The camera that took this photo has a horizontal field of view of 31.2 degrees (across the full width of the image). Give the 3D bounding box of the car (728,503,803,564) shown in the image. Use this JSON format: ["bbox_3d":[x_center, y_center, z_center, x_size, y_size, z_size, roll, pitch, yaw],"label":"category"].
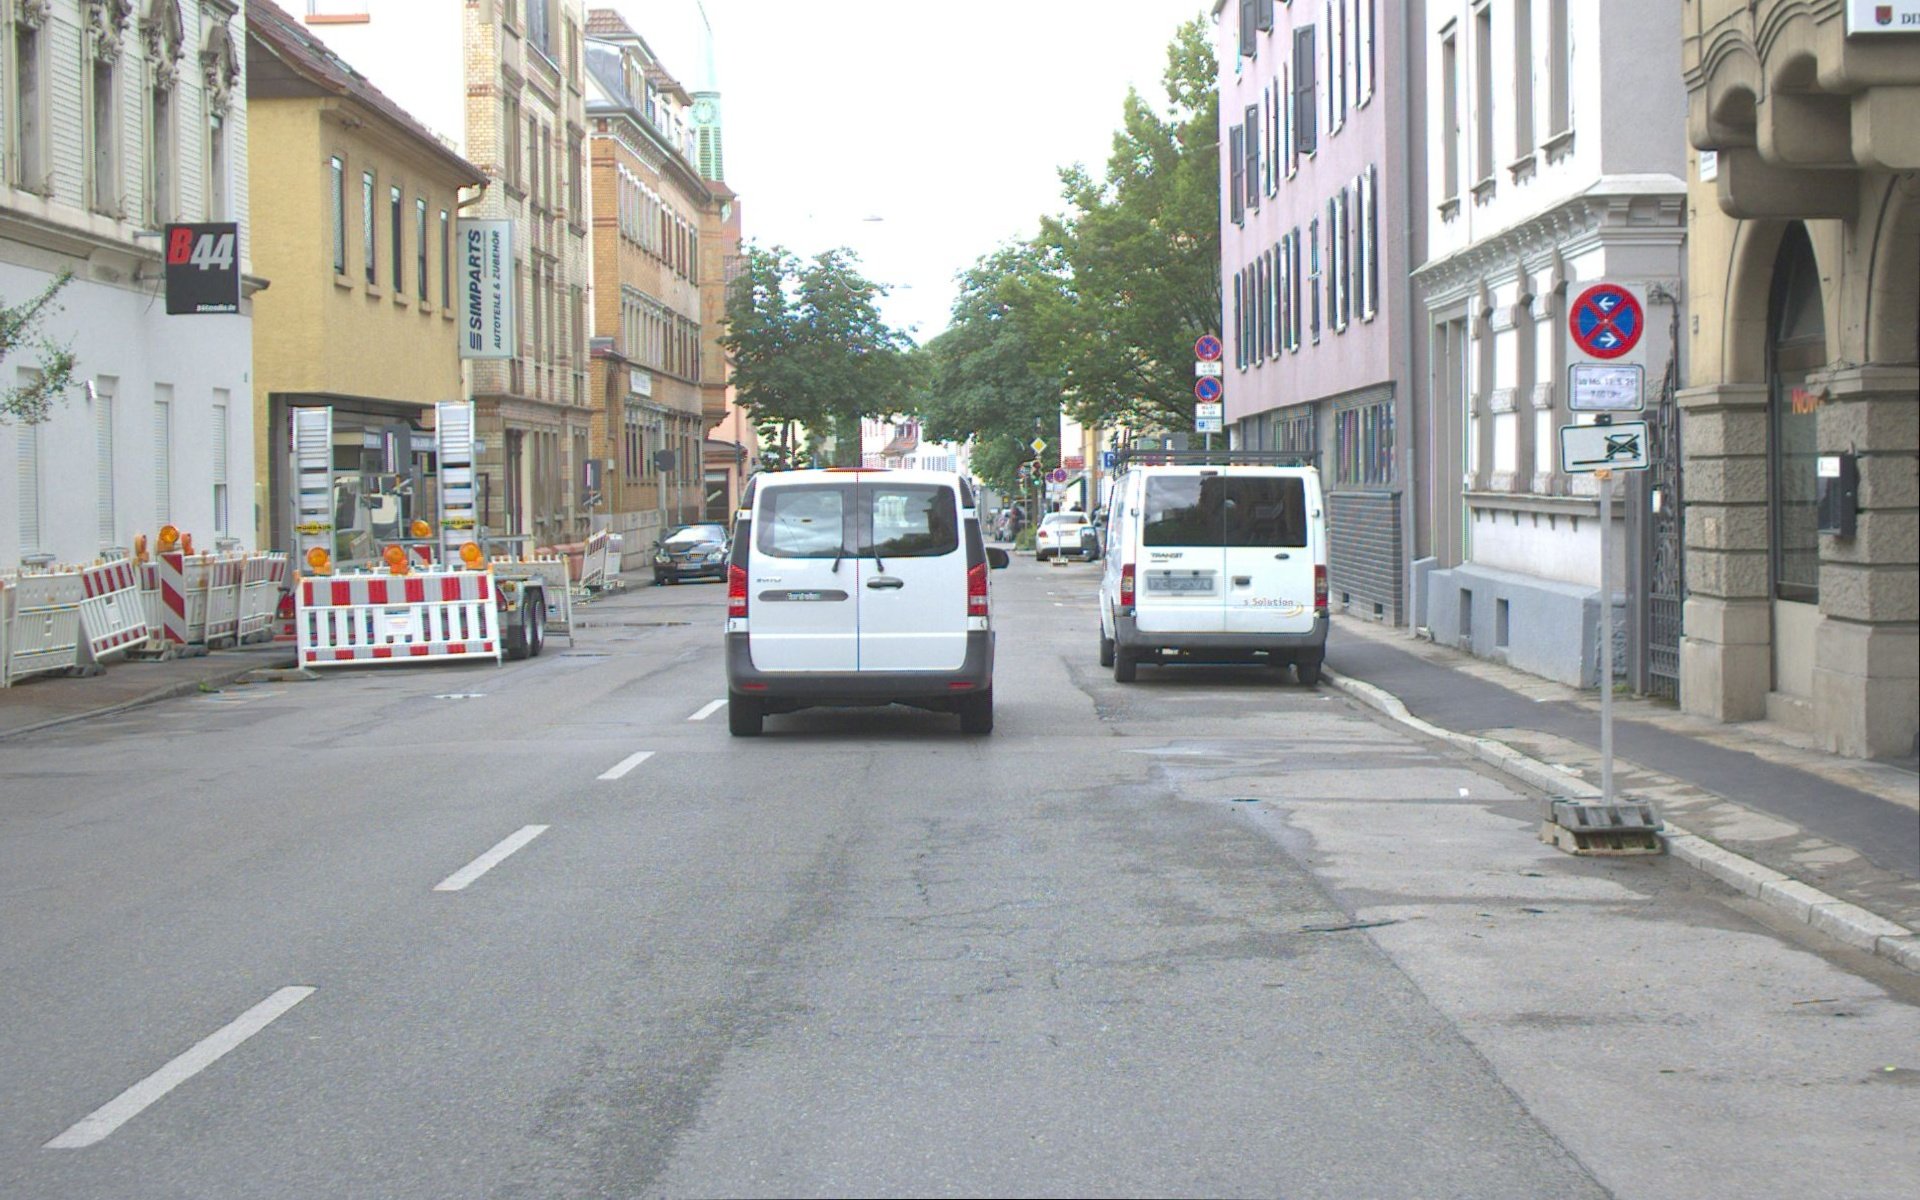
[{"bbox_3d":[-5.876,-2.027,104.399,1.993,1.735,4.000,2,1,0],"label":"car"}]

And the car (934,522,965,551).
[{"bbox_3d":[-0.609,-3.752,202.616,1.754,1.667,3.668,-1,0,1],"label":"car"}]

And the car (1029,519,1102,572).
[{"bbox_3d":[3.178,-1.654,104.142,1.993,1.480,4.000,3,1,0],"label":"car"}]

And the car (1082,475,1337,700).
[{"bbox_3d":[2.338,-0.167,33.500,2.128,1.998,4.926,1,1,0],"label":"car"}]

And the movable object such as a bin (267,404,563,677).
[{"bbox_3d":[-6.087,-0.689,38.991,2.537,2.815,4.539,-2,1,0],"label":"movable object such as a bin"}]

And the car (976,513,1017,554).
[{"bbox_3d":[1.877,-3.385,175.503,1.993,2.007,4.000,-1,0,2],"label":"car"}]

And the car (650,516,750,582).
[{"bbox_3d":[-5.990,-1.203,79.596,1.993,1.437,4.000,-2,1,0],"label":"car"}]

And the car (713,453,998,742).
[{"bbox_3d":[-0.807,-0.048,25.513,1.891,1.922,4.646,-1,1,-3],"label":"car"}]
